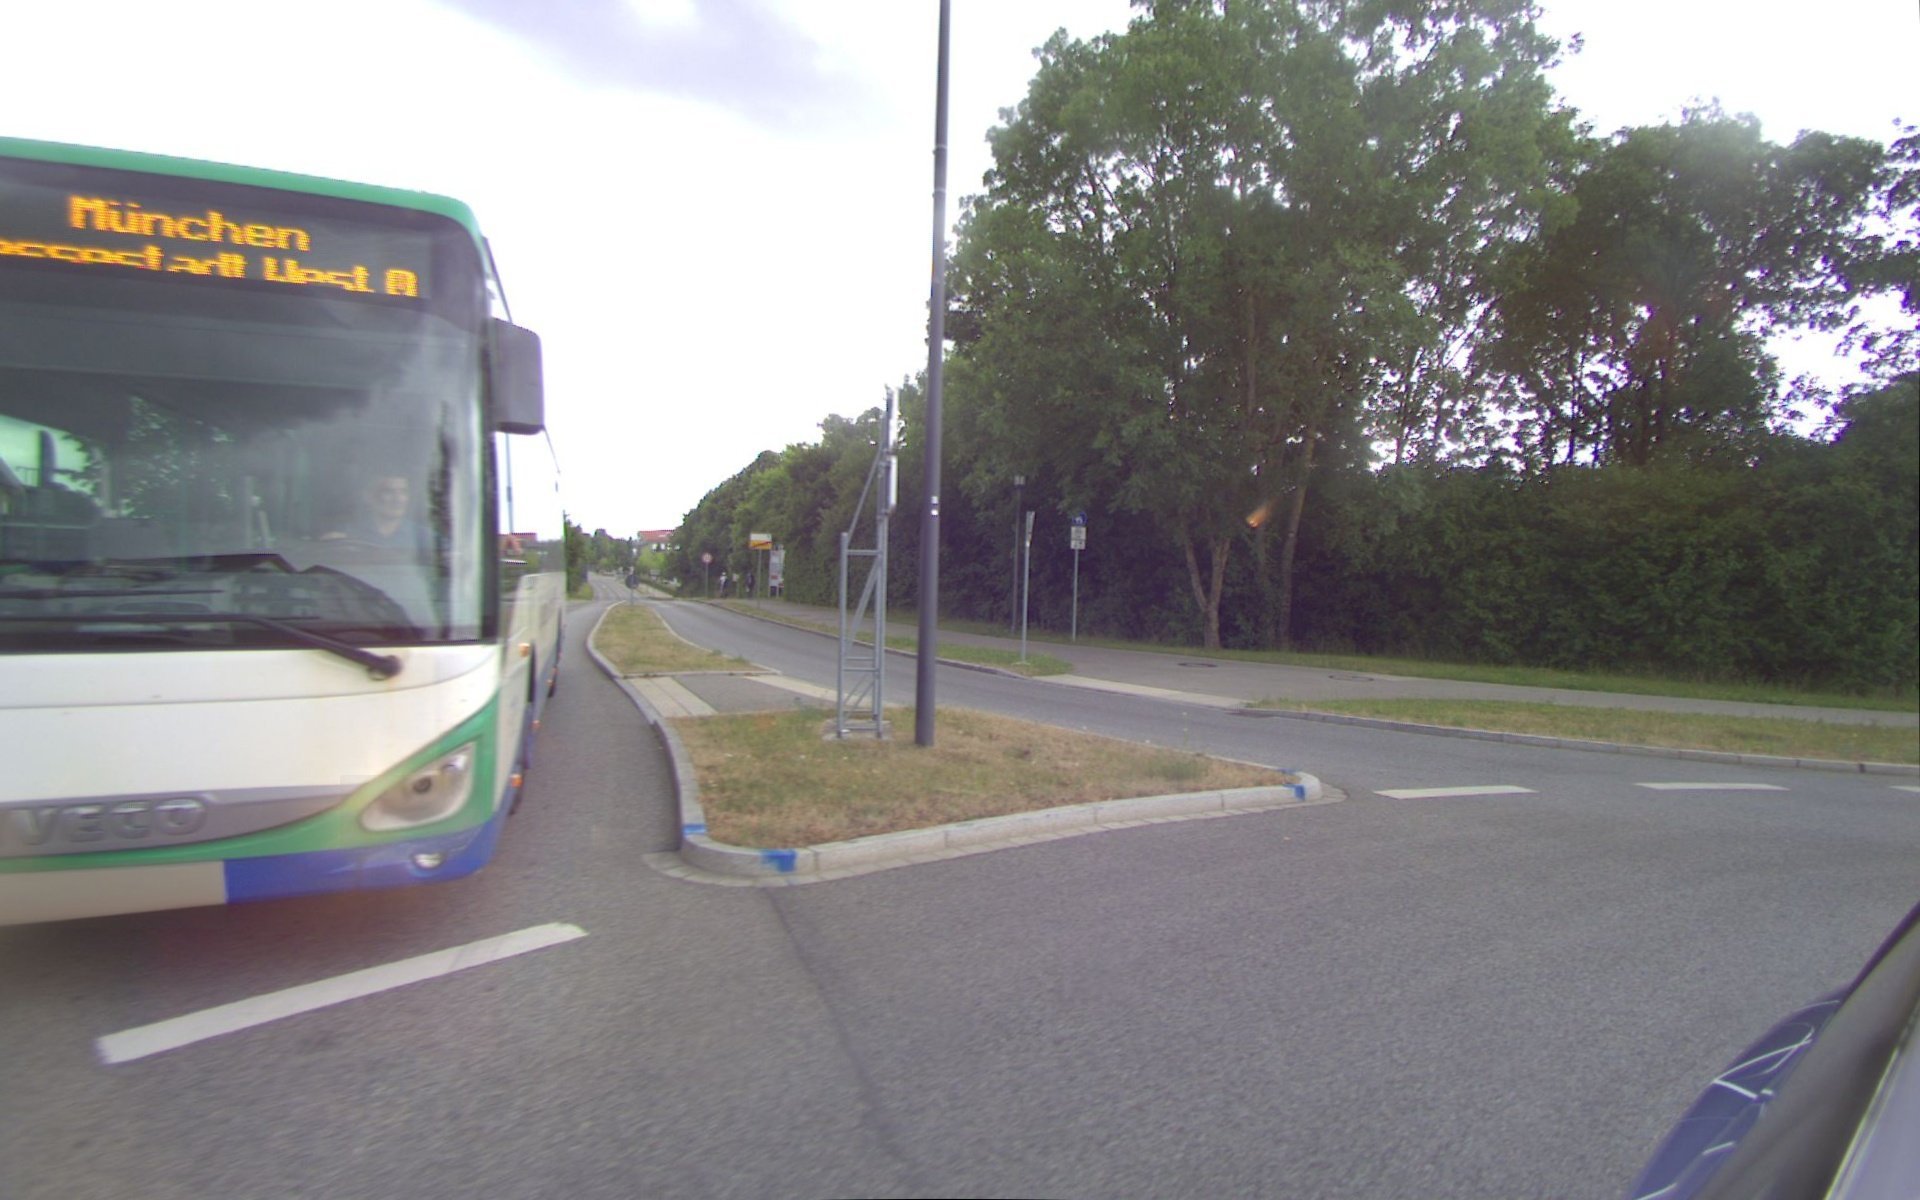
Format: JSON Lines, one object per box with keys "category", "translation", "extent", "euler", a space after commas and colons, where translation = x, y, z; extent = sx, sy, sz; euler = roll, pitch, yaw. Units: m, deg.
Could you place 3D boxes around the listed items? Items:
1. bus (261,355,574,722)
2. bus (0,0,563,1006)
{"category": "bus", "translation": [-6.028, -0.638, 12.091], "extent": [2.472, 3.298, 5.474], "euler": [1, 2, -20]}
{"category": "bus", "translation": [-3.984, -0.449, 6.417], "extent": [2.472, 3.298, 6.565], "euler": [1, 2, -20]}
